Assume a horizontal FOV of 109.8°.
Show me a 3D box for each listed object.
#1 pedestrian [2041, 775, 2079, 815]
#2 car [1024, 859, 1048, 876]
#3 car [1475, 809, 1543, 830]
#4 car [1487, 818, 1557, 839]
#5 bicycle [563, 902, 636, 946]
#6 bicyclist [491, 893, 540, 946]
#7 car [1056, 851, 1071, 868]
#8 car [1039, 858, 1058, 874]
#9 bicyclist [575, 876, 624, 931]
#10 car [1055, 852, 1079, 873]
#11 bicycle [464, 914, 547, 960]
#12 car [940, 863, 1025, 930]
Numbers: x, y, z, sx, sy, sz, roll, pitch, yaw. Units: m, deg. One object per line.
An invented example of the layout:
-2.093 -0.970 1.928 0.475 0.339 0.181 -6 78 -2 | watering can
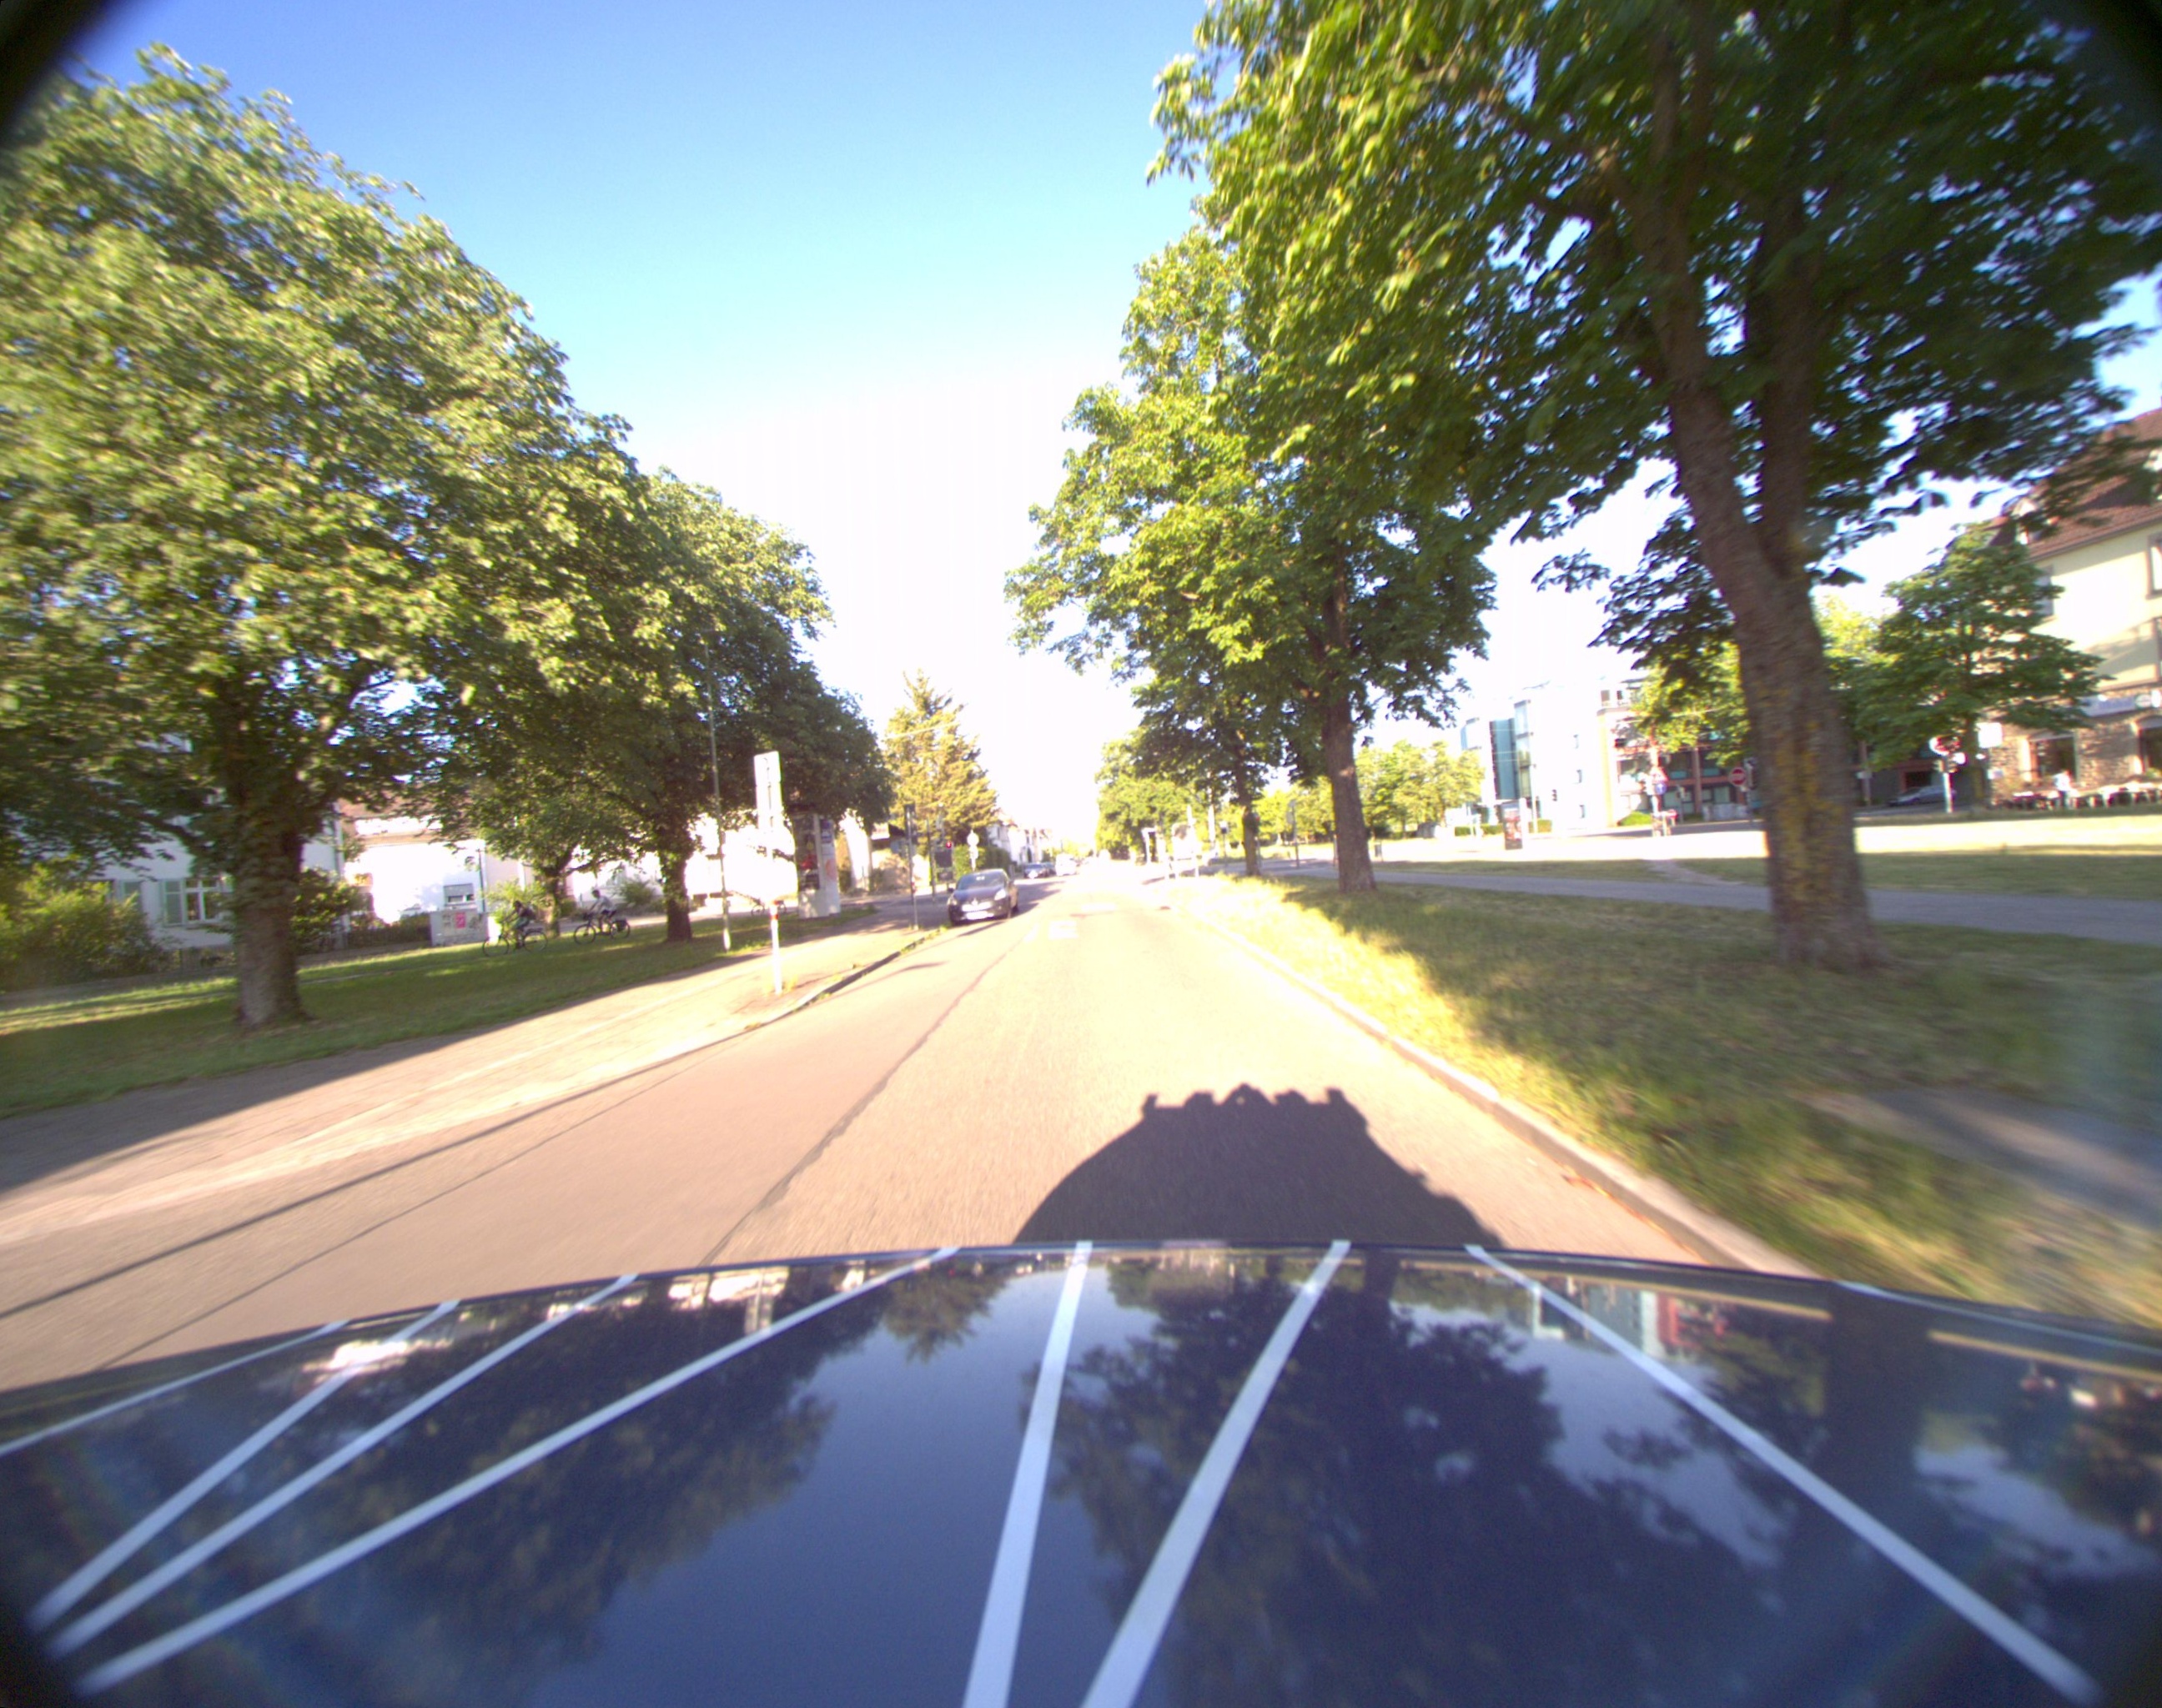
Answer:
42.596 -2.563 33.060 0.617 1.615 0.682 -7 1 -1 | pedestrian
-4.262 1.279 73.318 2.009 1.490 4.915 -4 0 -1 | car
40.201 -3.206 71.451 5.220 1.662 1.967 -3 2 -2 | car
40.234 -2.295 69.331 5.220 1.662 1.999 -3 1 -1 | car
-16.271 2.345 25.718 0.573 1.177 1.908 -7 1 28 | bicycle
-17.729 2.047 23.832 0.713 1.553 0.895 -3 2 28 | bicyclist
-2.945 0.913 129.581 2.132 2.461 5.724 -7 1 1 | car
-3.792 1.406 89.097 1.796 1.586 4.077 -7 -1 1 | car
-16.296 1.672 25.721 0.815 1.722 0.895 -6 2 28 | bicyclist
-1.445 0.838 76.178 1.999 1.775 3.998 -6 1 -6 | car
-17.847 2.547 23.600 0.491 1.177 1.967 -3 0 29 | bicycle
-2.824 1.185 22.819 1.730 1.502 4.540 -7 1 1 | car
